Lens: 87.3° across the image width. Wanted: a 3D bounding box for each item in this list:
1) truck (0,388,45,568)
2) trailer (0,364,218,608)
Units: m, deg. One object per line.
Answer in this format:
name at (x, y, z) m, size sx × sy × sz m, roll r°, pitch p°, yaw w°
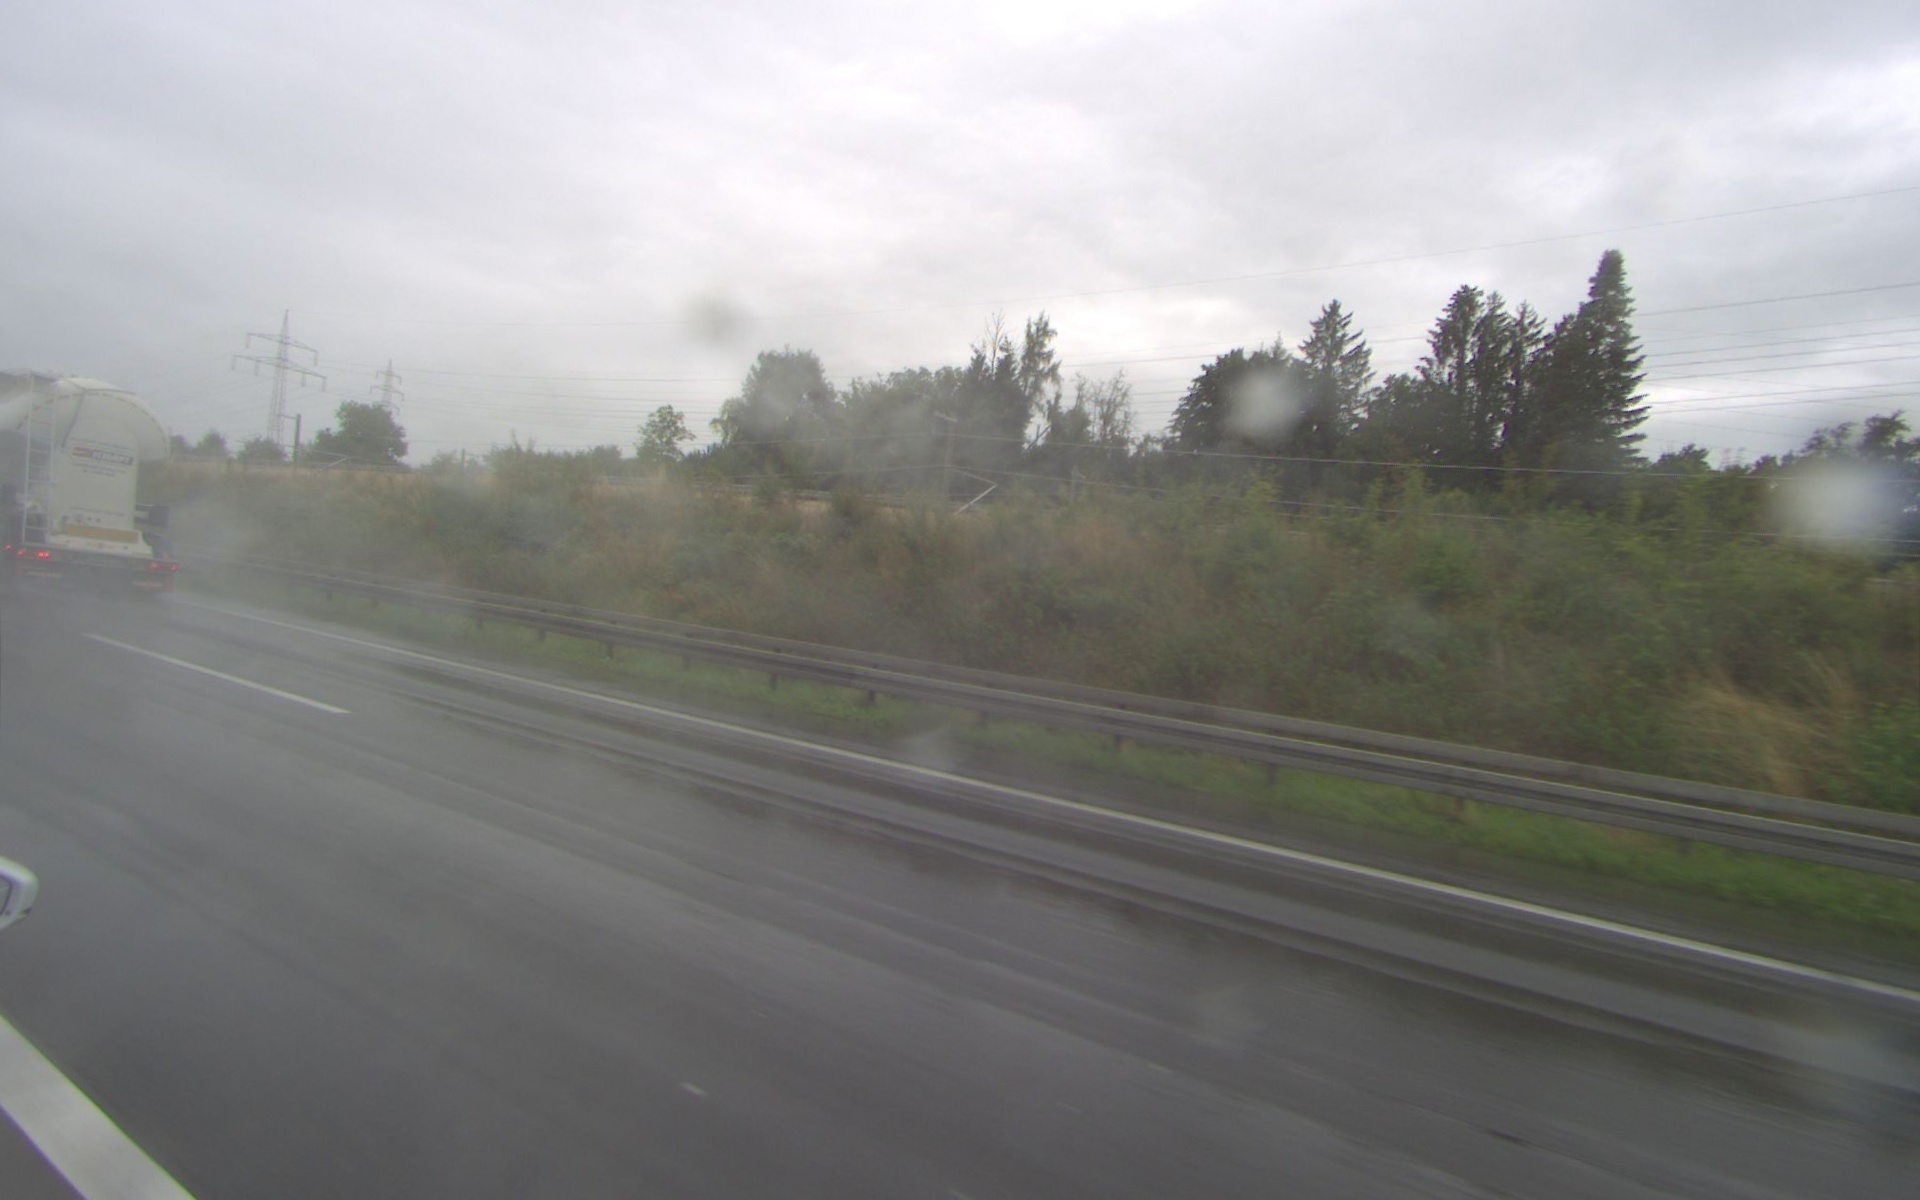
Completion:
truck at (-24.456, -3.145, 23.775) m, size 4.990 × 4.030 × 2.502 m, roll 7°, pitch -1°, yaw 31°
trailer at (-19.629, -2.494, 20.870) m, size 10.881 × 3.928 × 2.502 m, roll 7°, pitch -1°, yaw 31°
